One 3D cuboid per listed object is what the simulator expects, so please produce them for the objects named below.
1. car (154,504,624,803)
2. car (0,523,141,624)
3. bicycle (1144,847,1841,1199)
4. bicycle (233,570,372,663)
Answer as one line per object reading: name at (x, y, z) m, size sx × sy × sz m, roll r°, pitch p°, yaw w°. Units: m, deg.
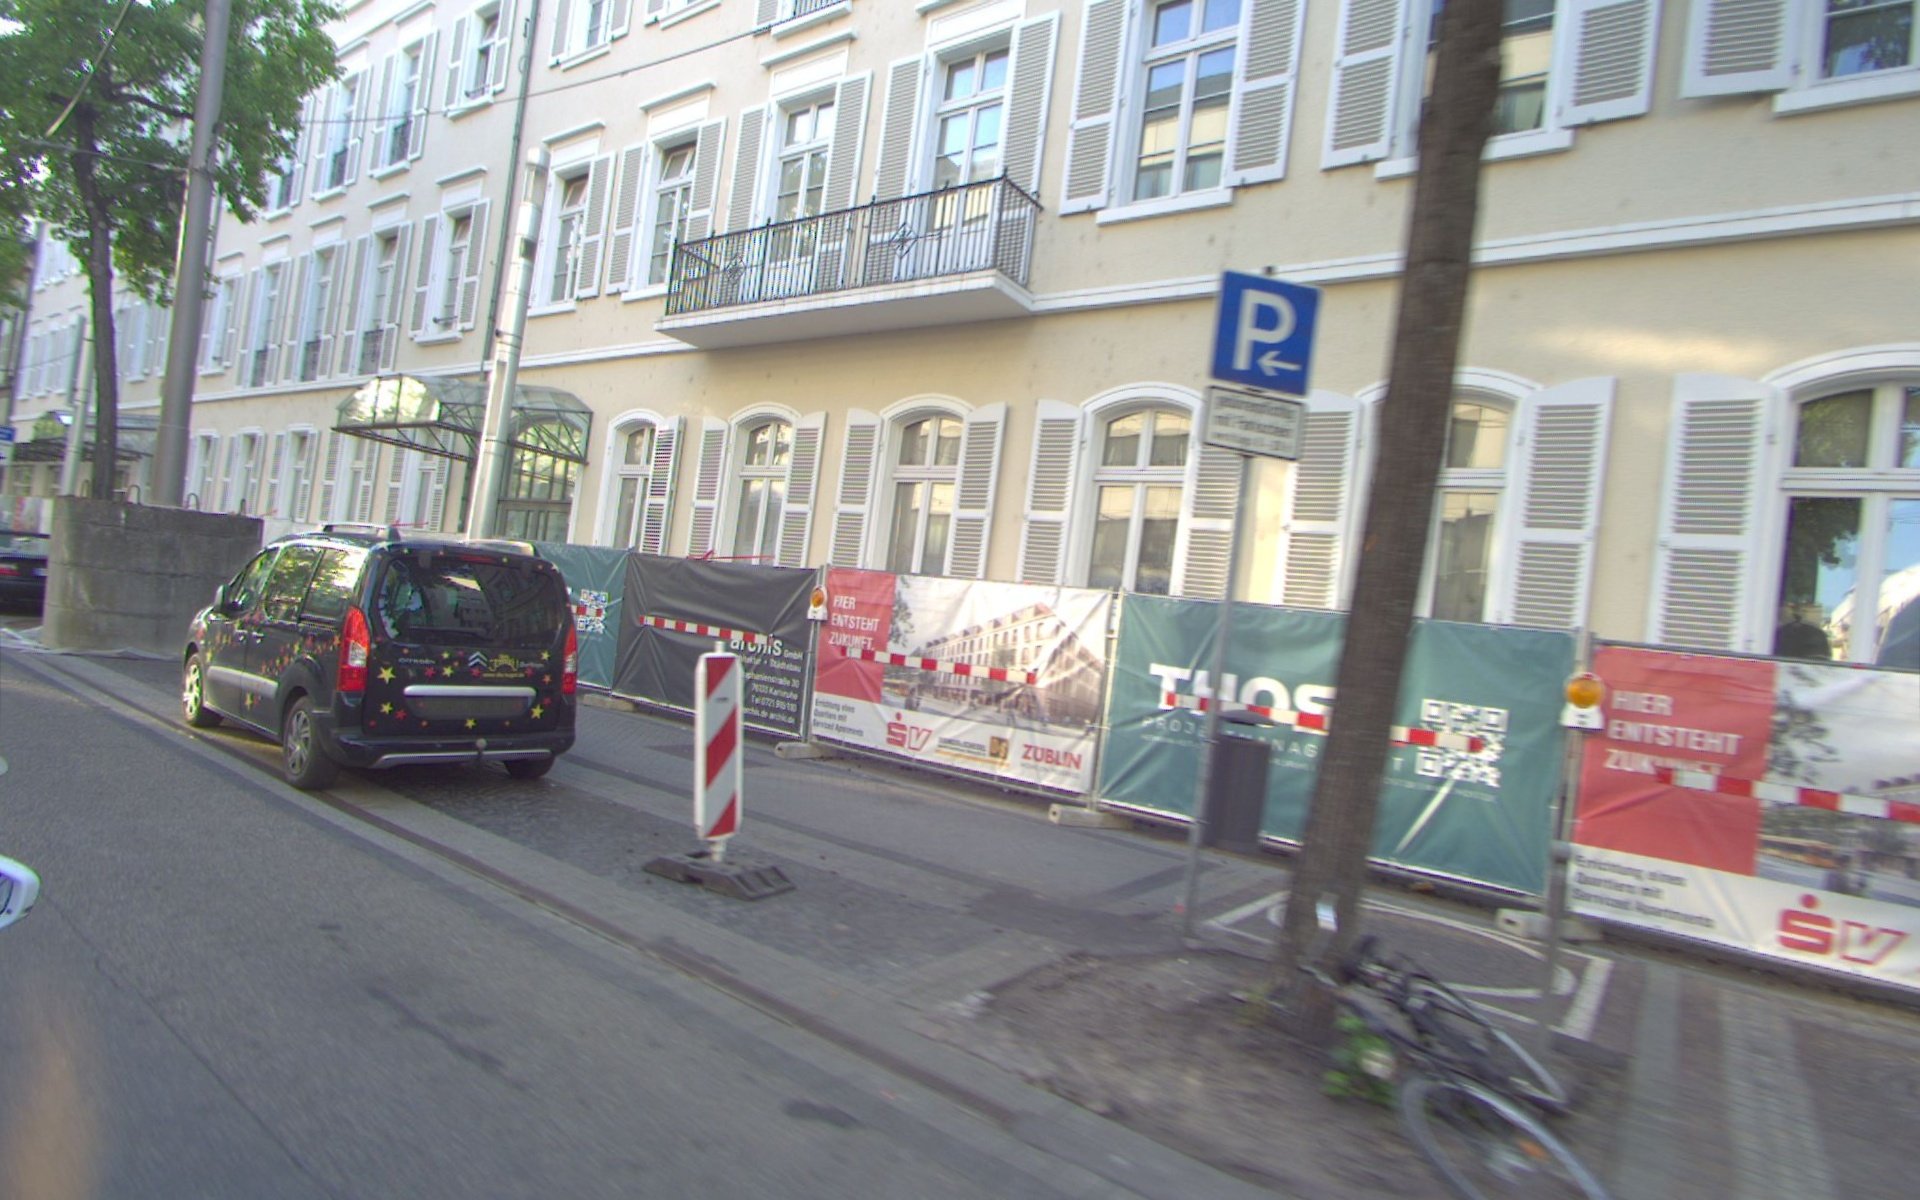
car at (-4.907, 0.285, 8.384) m, size 4.254 × 1.815 × 1.950 m, roll 6°, pitch -1°, yaw 40°
car at (-15.351, -0.527, 16.642) m, size 4.264 × 1.327 × 1.794 m, roll 6°, pitch -1°, yaw 37°
bicycle at (1.856, 1.476, 3.584) m, size 1.741 × 0.757 × 1.549 m, roll 7°, pitch -2°, yaw -36°
bicycle at (-9.168, 0.228, 14.029) m, size 1.643 × 1.084 × 0.655 m, roll 7°, pitch 1°, yaw 18°
